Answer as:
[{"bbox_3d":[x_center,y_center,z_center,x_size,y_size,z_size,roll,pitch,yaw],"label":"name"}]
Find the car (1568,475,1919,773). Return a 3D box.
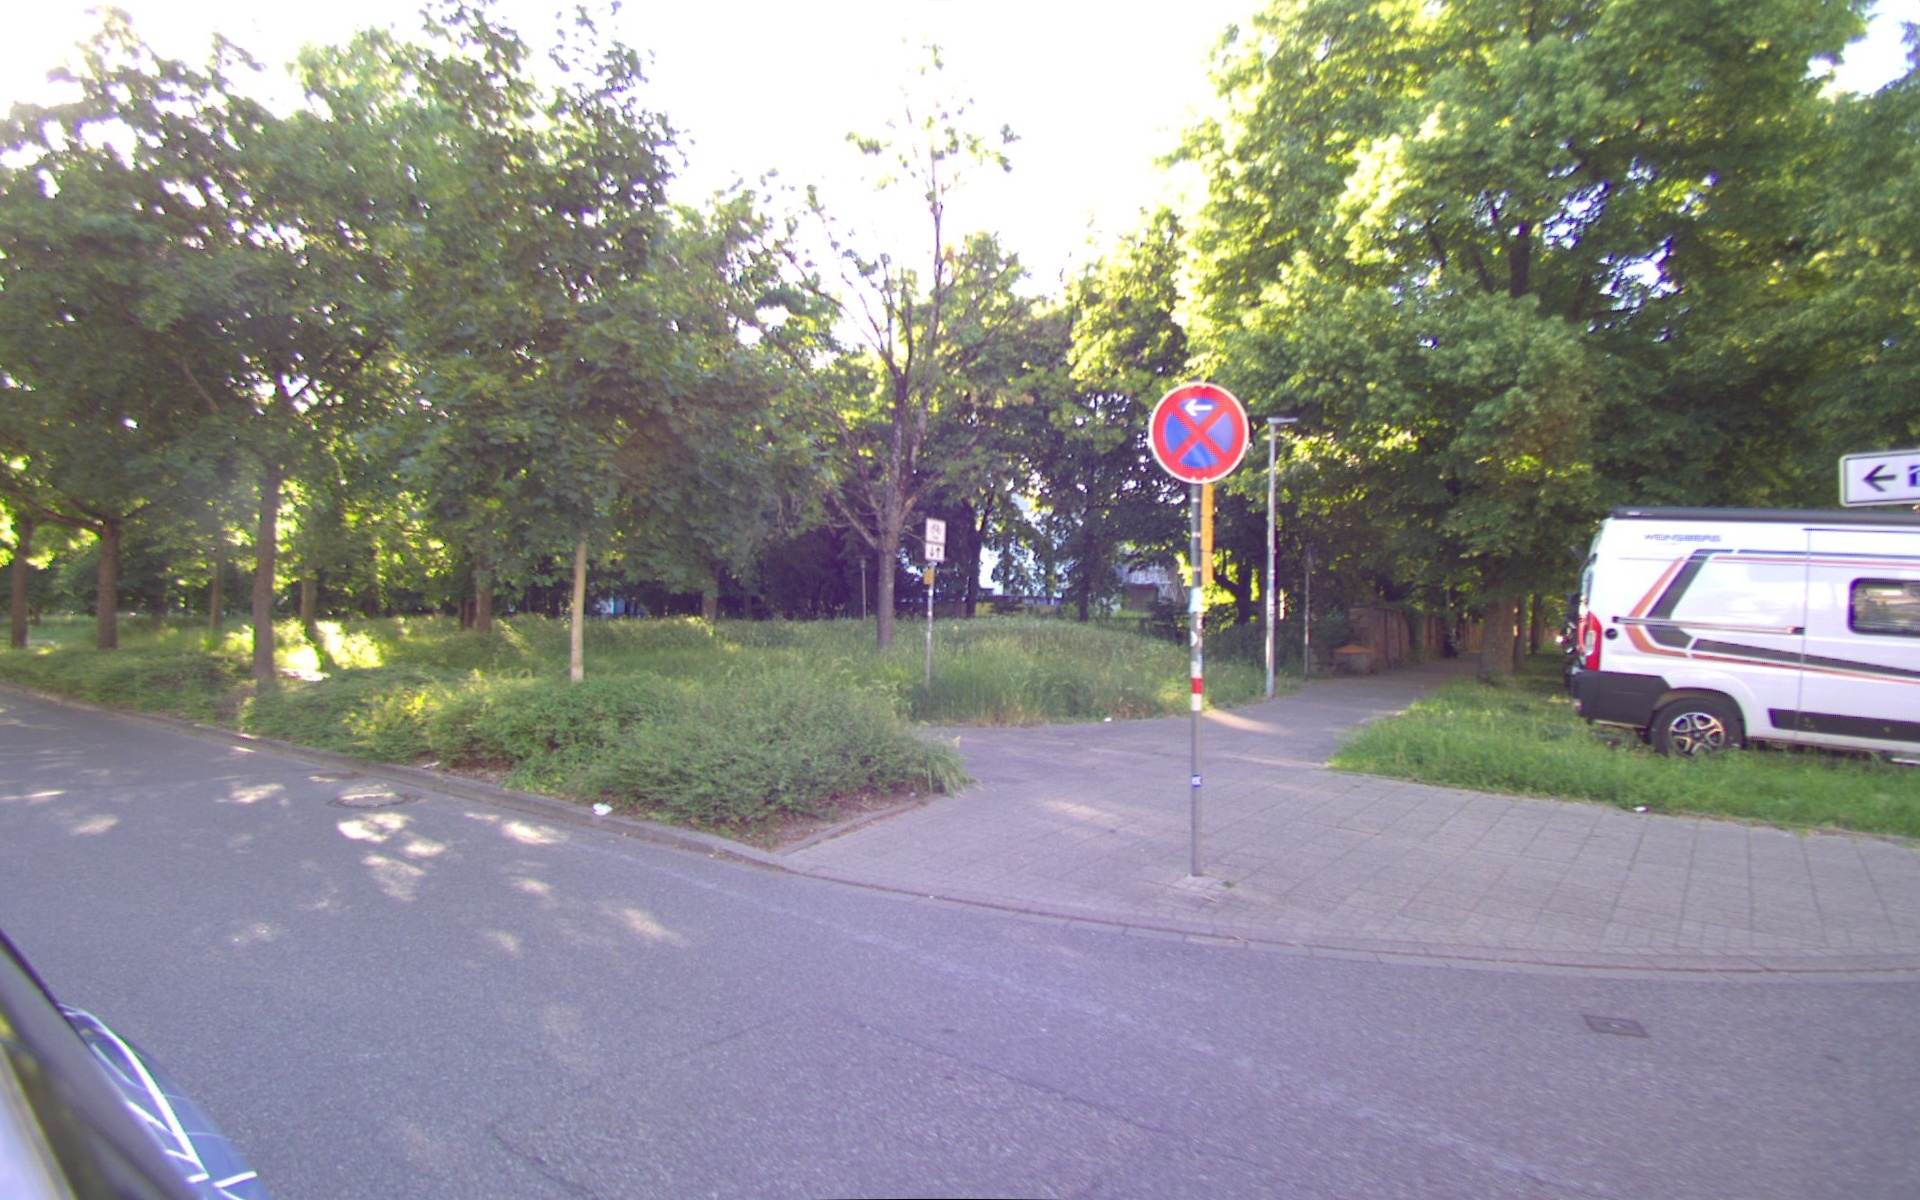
[{"bbox_3d":[9.223,0.218,9.822,5.609,2.634,2.216,0,-1,30],"label":"car"}]

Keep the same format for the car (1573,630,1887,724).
[{"bbox_3d":[12.416,1.191,16.702,3.866,1.352,1.958,-1,-2,30],"label":"car"}]

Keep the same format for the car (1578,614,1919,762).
[{"bbox_3d":[10.118,0.980,12.380,4.283,1.587,1.958,0,-1,30],"label":"car"}]

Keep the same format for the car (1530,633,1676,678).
[{"bbox_3d":[20.603,1.746,32.613,3.866,1.266,1.767,0,-1,30],"label":"car"}]

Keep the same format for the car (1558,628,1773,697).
[{"bbox_3d":[15.974,1.362,23.189,3.866,1.388,1.958,0,-1,30],"label":"car"}]

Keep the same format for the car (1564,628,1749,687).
[{"bbox_3d":[18.272,1.460,26.800,3.866,1.388,1.958,0,-1,30],"label":"car"}]

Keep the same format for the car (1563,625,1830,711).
[{"bbox_3d":[13.724,1.226,19.194,3.866,1.453,1.958,-1,-2,30],"label":"car"}]

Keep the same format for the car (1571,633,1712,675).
[{"bbox_3d":[23.369,1.821,34.884,3.866,1.266,1.767,0,-1,30],"label":"car"}]

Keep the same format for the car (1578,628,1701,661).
[{"bbox_3d":[26.534,1.734,39.667,3.866,1.164,1.767,0,-1,30],"label":"car"}]
